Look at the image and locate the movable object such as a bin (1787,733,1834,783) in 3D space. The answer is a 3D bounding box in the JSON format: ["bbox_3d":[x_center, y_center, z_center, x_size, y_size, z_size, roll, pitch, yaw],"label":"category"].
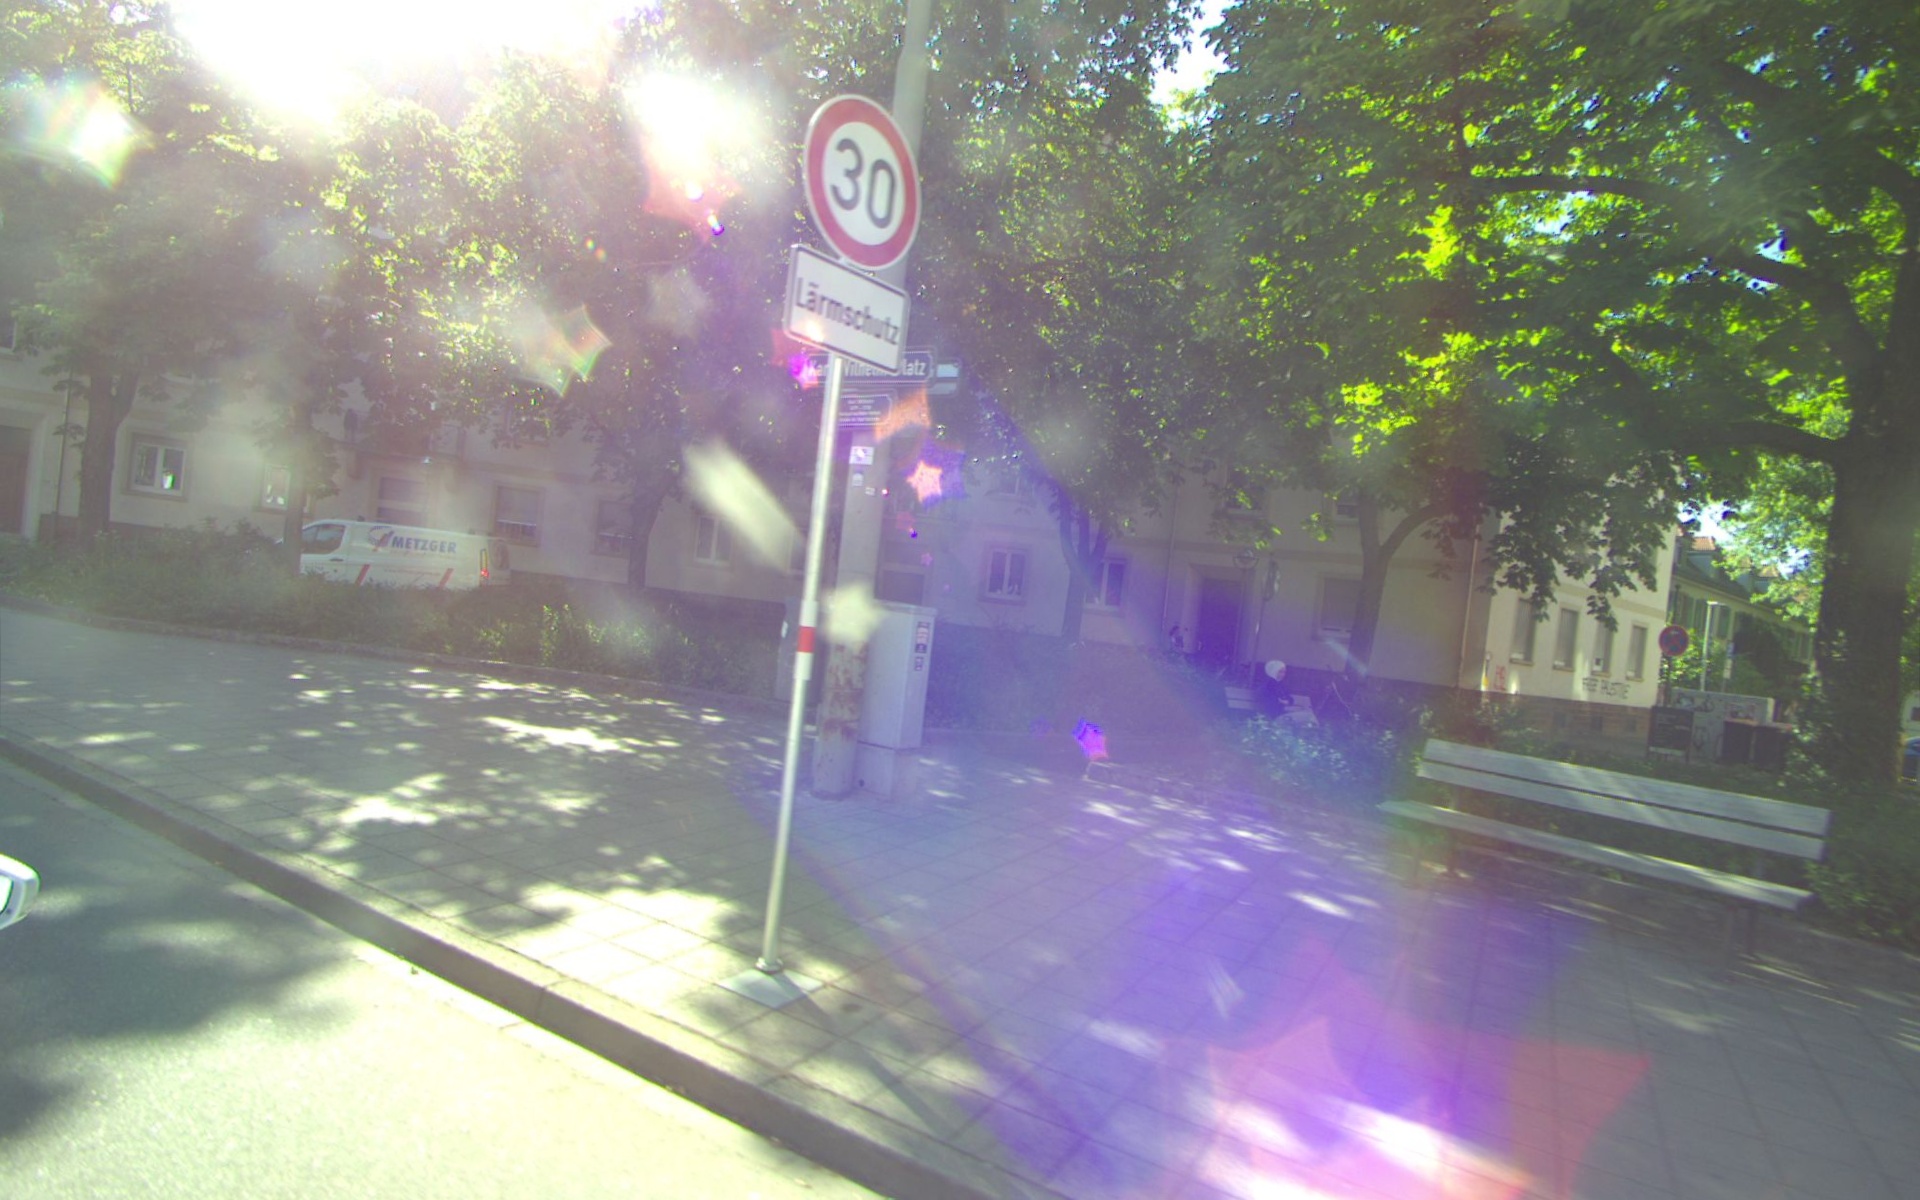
[{"bbox_3d":[18.749,3.480,22.180,0.637,0.976,0.539,8,-1,-32],"label":"movable object such as a bin"}]

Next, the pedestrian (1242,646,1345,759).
[{"bbox_3d":[4.179,1.273,12.603,1.023,1.246,0.450,6,-1,32],"label":"pedestrian"}]

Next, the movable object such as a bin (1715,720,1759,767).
[{"bbox_3d":[17.987,3.331,23.299,0.637,0.976,0.539,8,-1,-32],"label":"movable object such as a bin"}]

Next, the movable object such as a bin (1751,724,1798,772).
[{"bbox_3d":[18.406,3.341,22.734,0.637,0.976,0.577,8,-1,-32],"label":"movable object such as a bin"}]

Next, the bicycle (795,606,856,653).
[{"bbox_3d":[-3.718,0.818,27.933,1.537,1.130,0.461,6,2,-3],"label":"bicycle"}]

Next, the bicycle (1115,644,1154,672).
[{"bbox_3d":[4.646,1.544,26.776,0.900,0.644,0.433,7,-1,18],"label":"bicycle"}]

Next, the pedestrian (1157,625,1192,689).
[{"bbox_3d":[5.854,1.565,27.436,0.619,1.653,0.571,7,-1,30],"label":"pedestrian"}]

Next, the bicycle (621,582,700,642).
[{"bbox_3d":[-7.749,0.307,26.081,1.798,1.297,0.427,7,2,-3],"label":"bicycle"}]

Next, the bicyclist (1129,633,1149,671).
[{"bbox_3d":[4.752,1.382,26.728,0.386,0.955,0.339,7,-1,18],"label":"bicyclist"}]

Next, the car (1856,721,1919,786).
[{"bbox_3d":[26.506,4.309,27.081,1.489,1.536,3.311,9,-2,-41],"label":"car"}]

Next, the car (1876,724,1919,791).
[{"bbox_3d":[24.971,4.098,24.776,1.489,1.536,3.311,9,-2,-41],"label":"car"}]

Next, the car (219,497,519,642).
[{"bbox_3d":[-11.627,-0.540,20.124,4.680,2.116,1.684,8,-1,-12],"label":"car"}]
